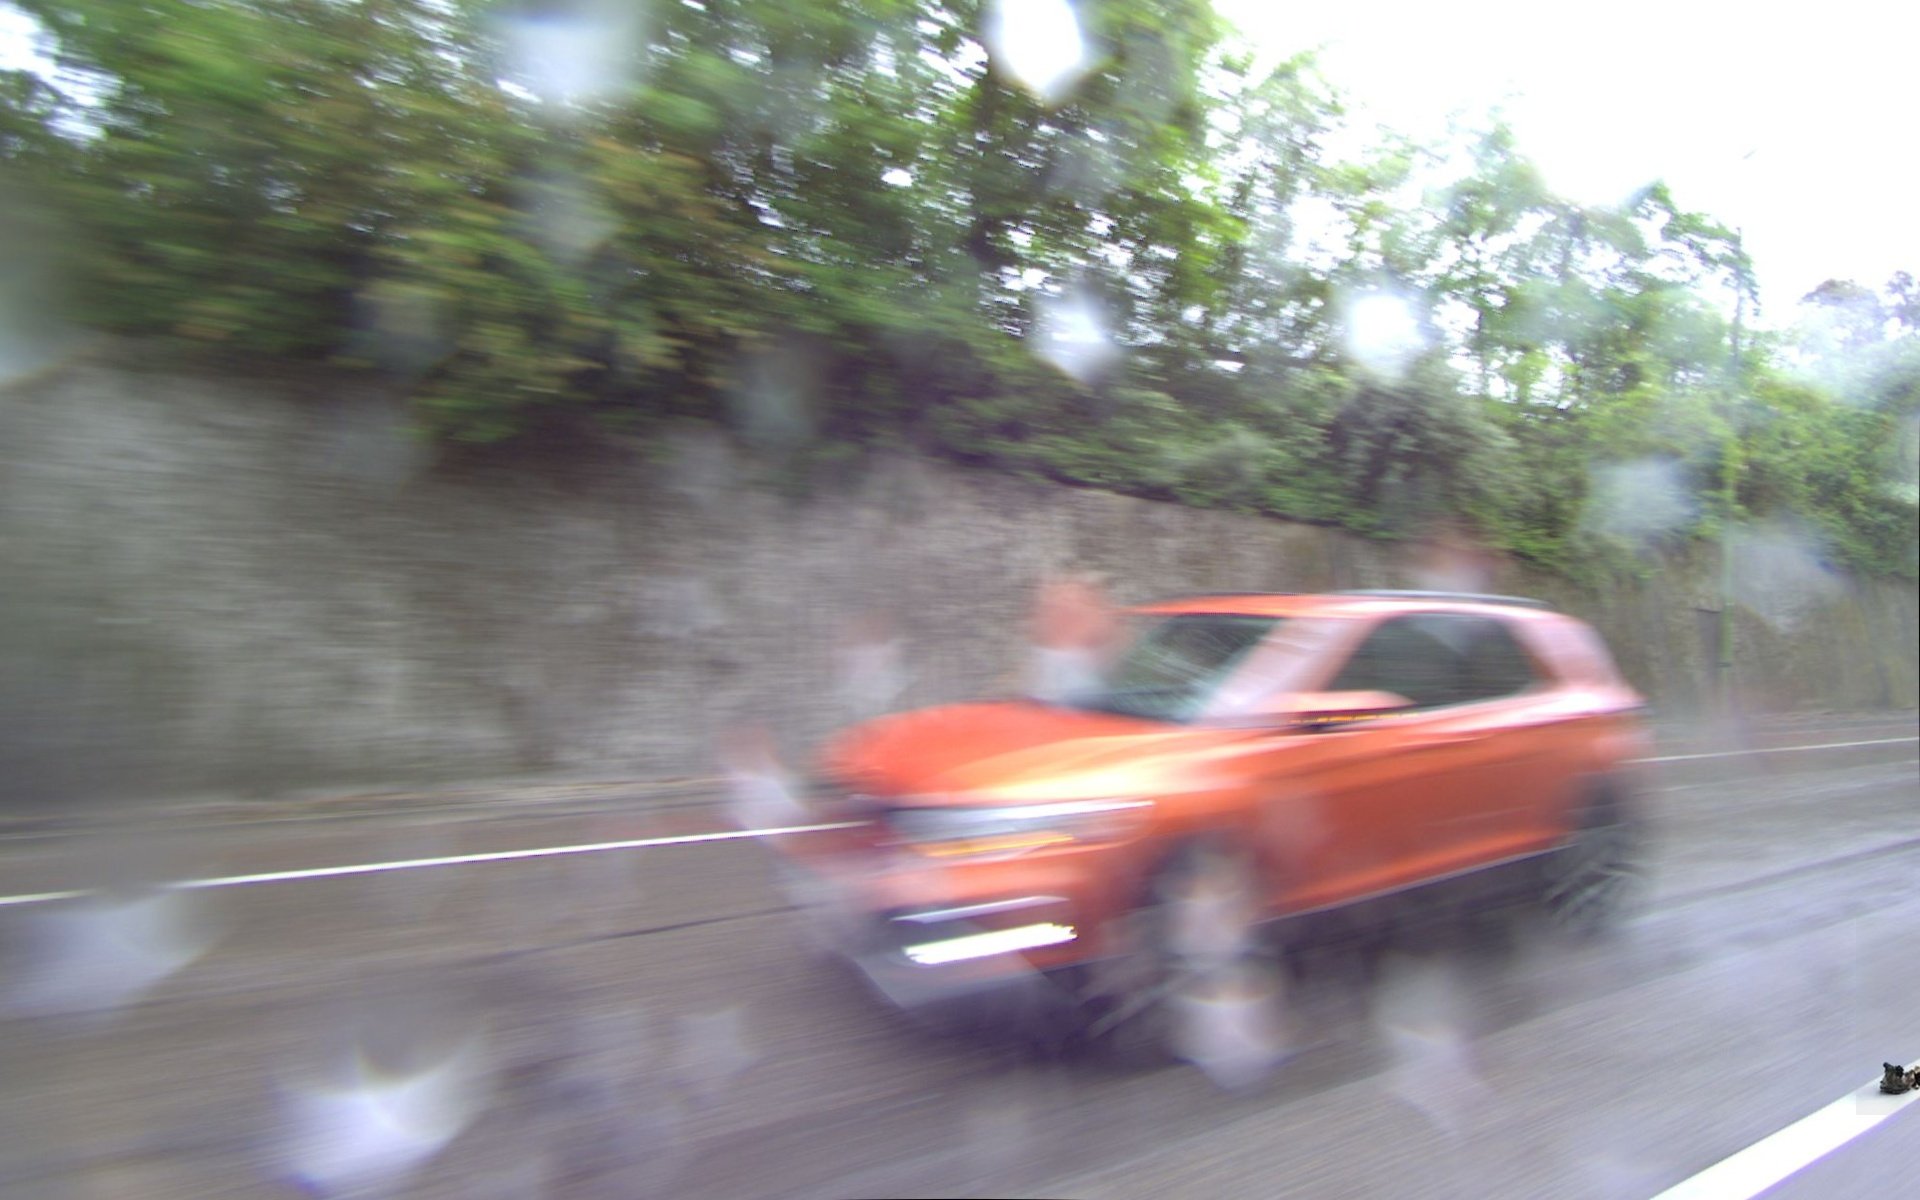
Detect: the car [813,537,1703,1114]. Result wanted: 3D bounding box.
[{"bbox_3d":[1.500,0.736,4.641,3.954,1.639,1.724,2,-3,-31],"label":"car"}]
